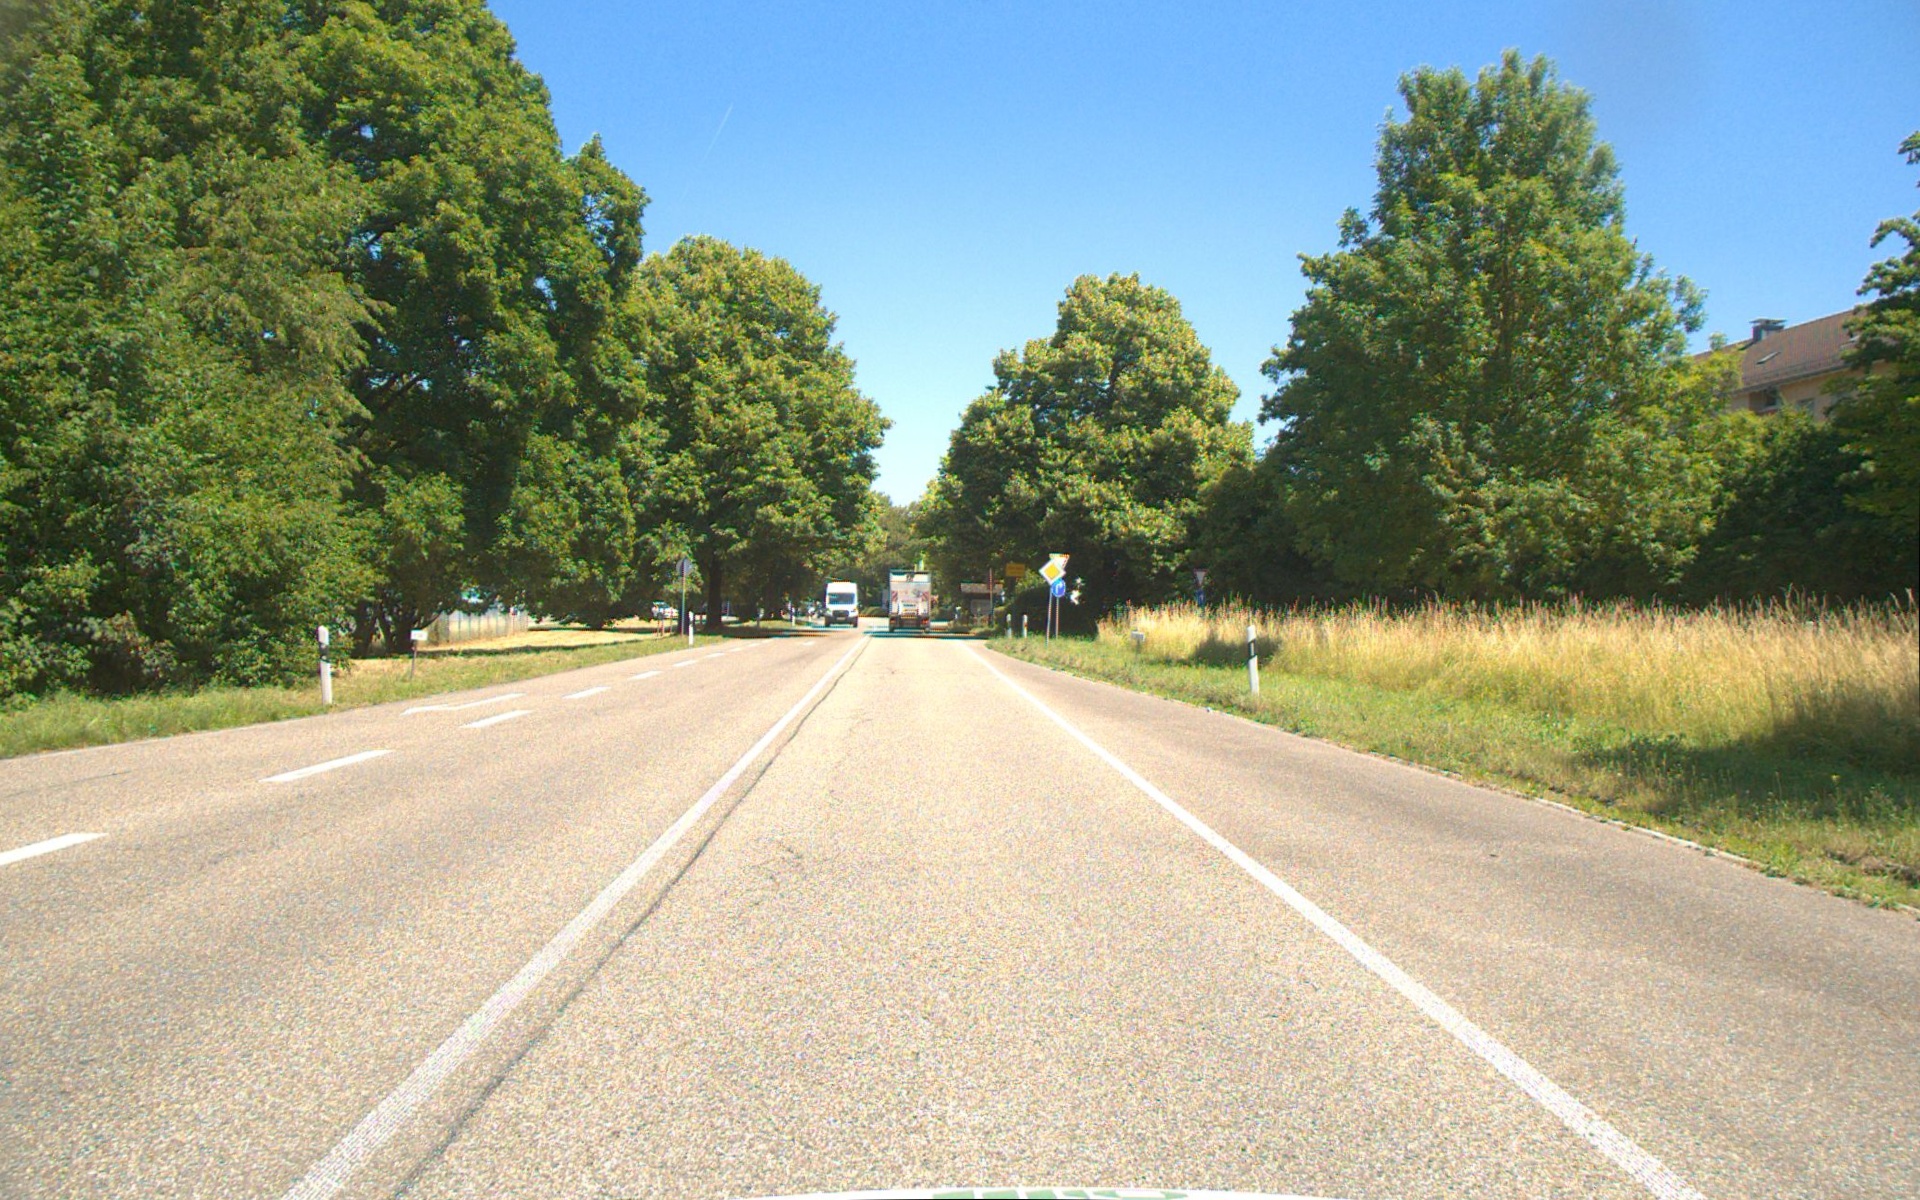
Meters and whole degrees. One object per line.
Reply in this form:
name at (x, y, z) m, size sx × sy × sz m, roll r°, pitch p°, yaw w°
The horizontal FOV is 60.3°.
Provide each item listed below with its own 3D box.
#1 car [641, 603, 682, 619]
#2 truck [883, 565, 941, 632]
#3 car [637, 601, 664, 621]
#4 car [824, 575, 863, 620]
car at (-25.626, 0.950, 141.954) m, size 3.357 × 1.386 × 1.333 m, roll 0°, pitch -1°, yaw 29°
truck at (-2.315, -0.090, 80.909) m, size 2.481 × 3.190 × 5.362 m, roll 0°, pitch 0°, yaw 2°
car at (-25.467, 0.917, 136.006) m, size 1.708 × 1.613 × 3.981 m, roll 0°, pitch 0°, yaw -17°
car at (-7.080, -0.113, 101.014) m, size 2.031 × 2.673 × 6.782 m, roll 0°, pitch 0°, yaw -1°
